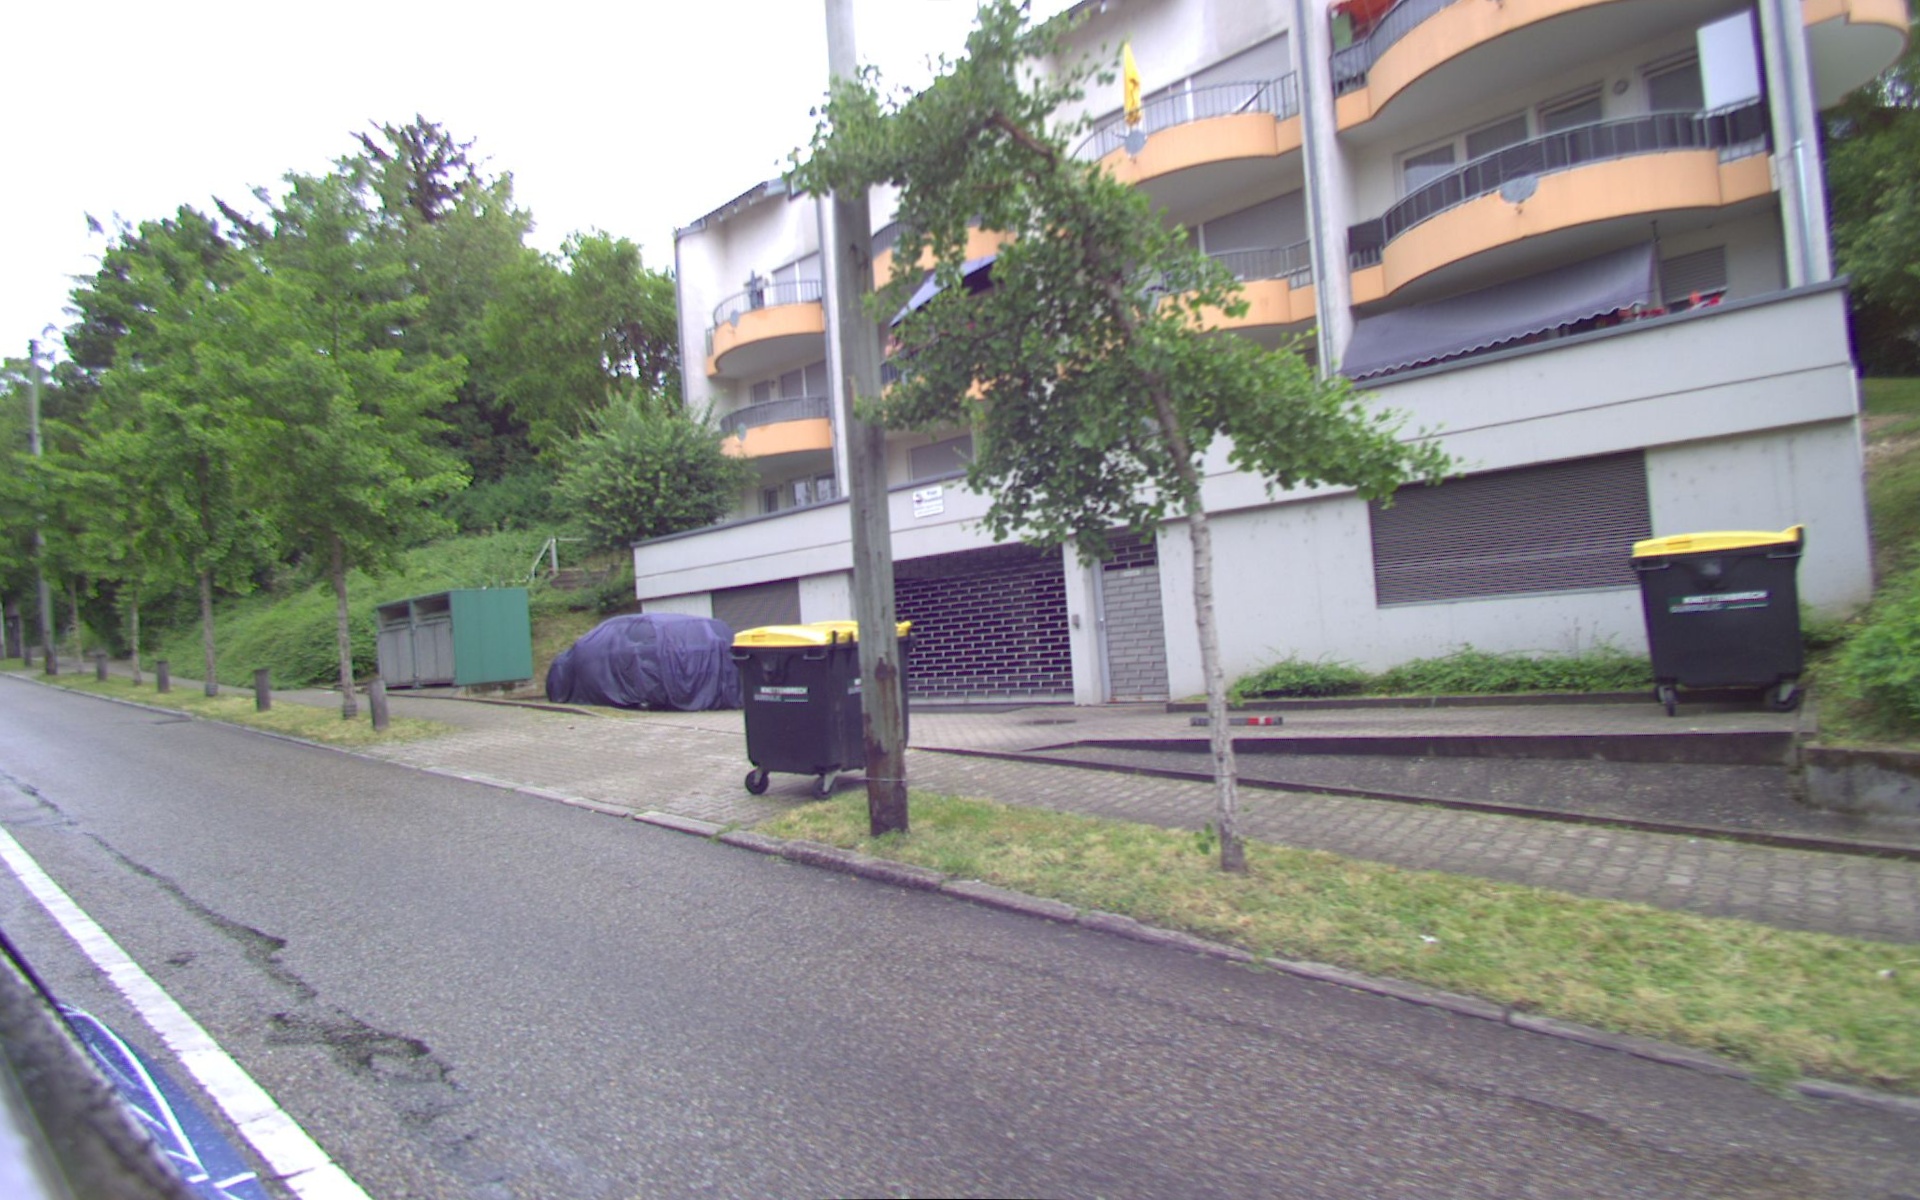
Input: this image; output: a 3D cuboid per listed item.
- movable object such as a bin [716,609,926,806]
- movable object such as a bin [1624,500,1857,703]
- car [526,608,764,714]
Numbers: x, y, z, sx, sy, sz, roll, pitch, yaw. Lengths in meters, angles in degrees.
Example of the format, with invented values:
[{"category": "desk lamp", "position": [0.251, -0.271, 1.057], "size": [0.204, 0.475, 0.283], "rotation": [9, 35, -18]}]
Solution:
[{"category": "movable object such as a bin", "position": [-1.085, 0.783, 8.067], "size": [1.120, 1.360, 1.213], "rotation": [-1, 1, 32]}, {"category": "movable object such as a bin", "position": [5.796, 0.020, 7.645], "size": [1.159, 1.325, 1.252], "rotation": [-6, -2, 32]}, {"category": "car", "position": [-5.141, 0.948, 16.343], "size": [3.861, 1.503, 1.833], "rotation": [-2, -3, 39]}]
